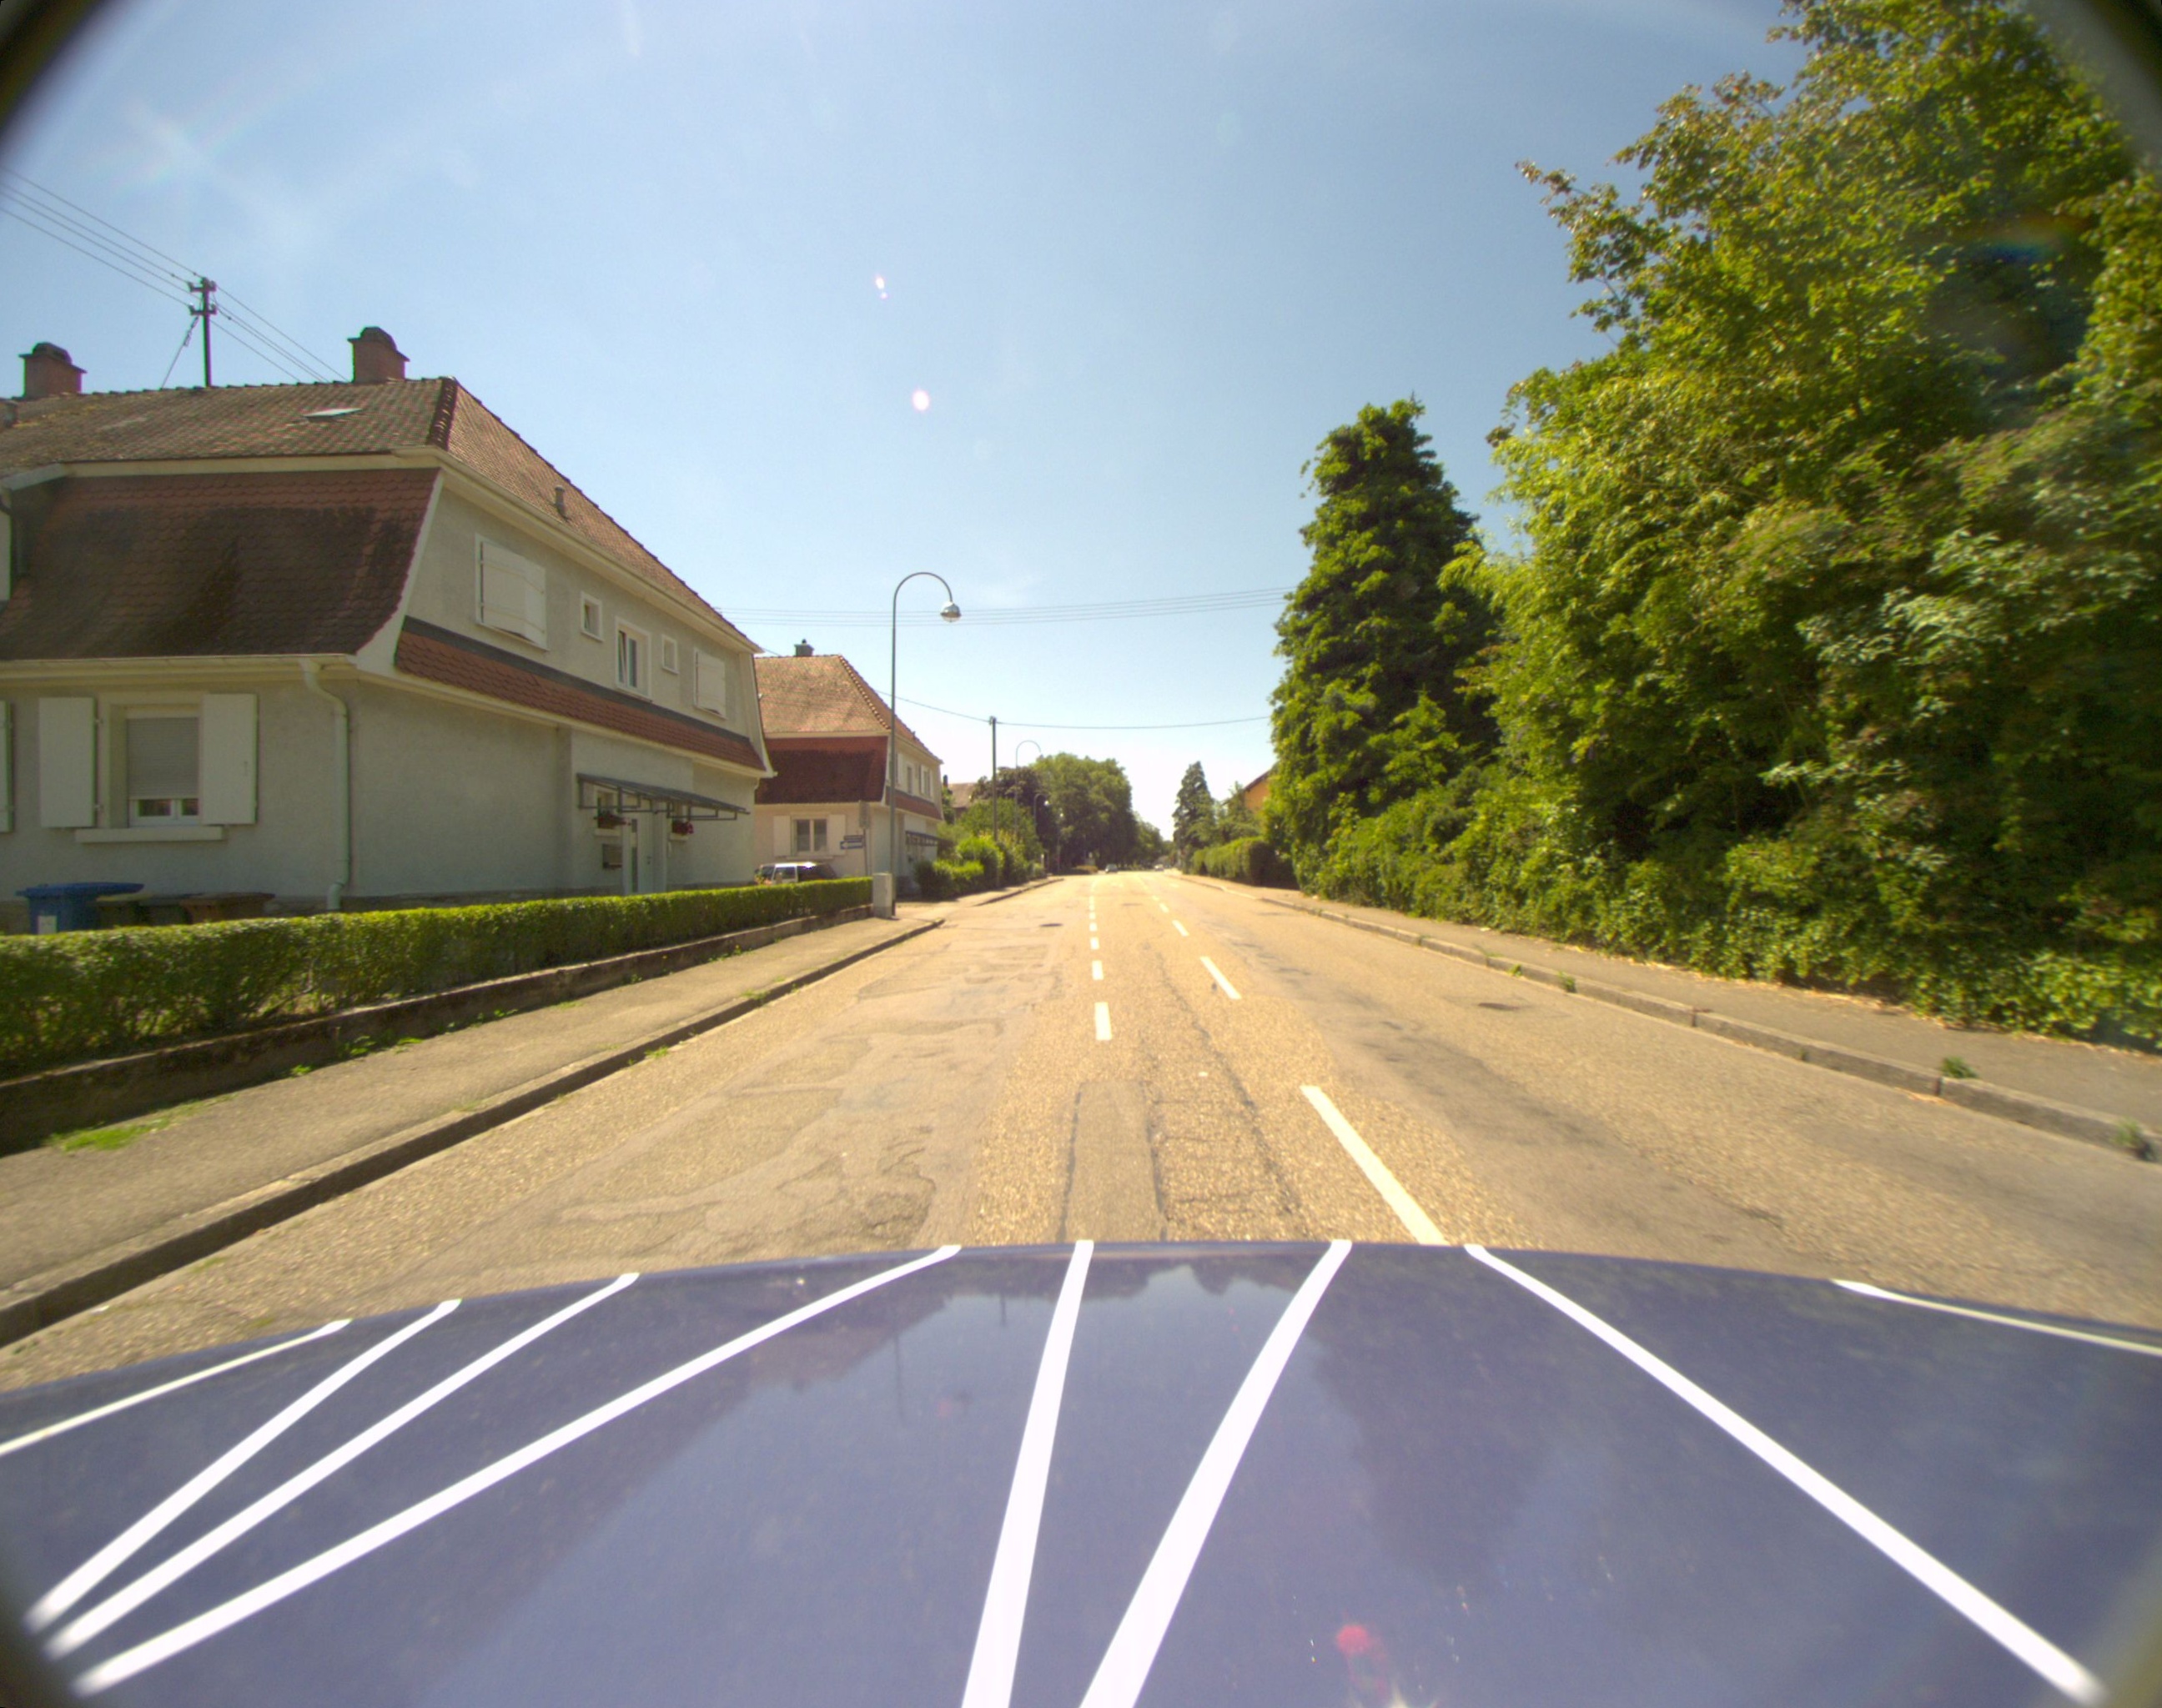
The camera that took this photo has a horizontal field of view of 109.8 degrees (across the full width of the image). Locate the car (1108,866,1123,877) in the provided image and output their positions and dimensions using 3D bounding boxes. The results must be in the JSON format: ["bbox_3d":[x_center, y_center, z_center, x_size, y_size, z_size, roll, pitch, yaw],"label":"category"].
[{"bbox_3d":[5.460,2.719,119.938,1.882,1.623,4.325,0,0,11],"label":"car"}]

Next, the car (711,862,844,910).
[{"bbox_3d":[-10.696,1.111,26.971,4.005,1.527,1.693,-2,1,0],"label":"car"}]

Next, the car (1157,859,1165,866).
[{"bbox_3d":[17.038,1.851,161.714,1.684,1.364,4.208,0,-1,4],"label":"car"}]
